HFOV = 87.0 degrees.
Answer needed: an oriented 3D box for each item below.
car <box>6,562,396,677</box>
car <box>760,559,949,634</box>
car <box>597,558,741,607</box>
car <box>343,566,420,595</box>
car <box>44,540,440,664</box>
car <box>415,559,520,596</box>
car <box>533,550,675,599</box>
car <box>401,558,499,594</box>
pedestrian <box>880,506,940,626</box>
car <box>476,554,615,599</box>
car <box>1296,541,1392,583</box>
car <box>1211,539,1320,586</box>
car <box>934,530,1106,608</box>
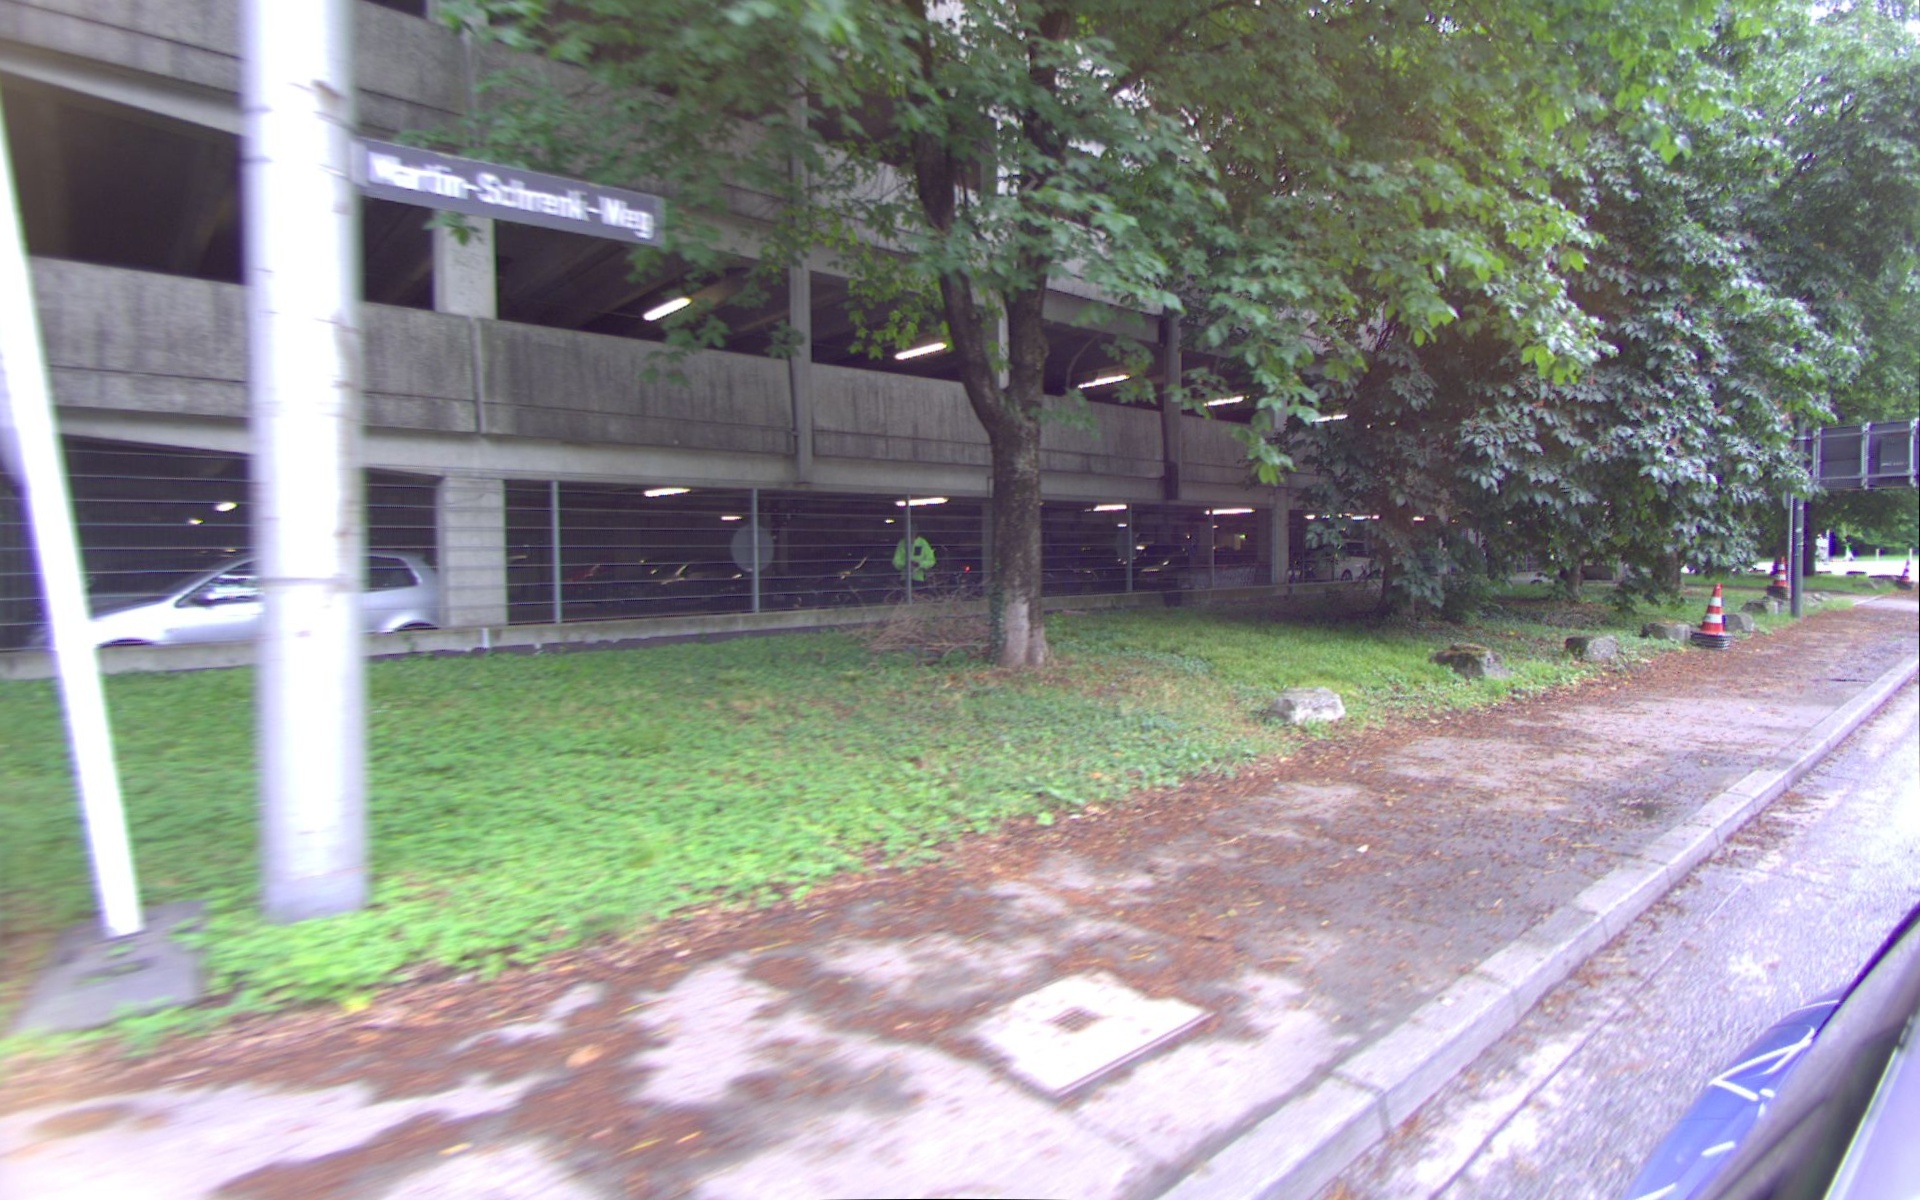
[{"bbox_3d":[-9.007,0.139,12.256,3.576,1.176,1.621,-2,3,-40],"label":"car"},{"bbox_3d":[-2.119,-0.132,20.915,3.711,1.381,1.520,-3,3,-41],"label":"car"},{"bbox_3d":[-7.534,-0.445,26.352,3.287,1.191,1.520,0,1,-42],"label":"car"},{"bbox_3d":[-32.796,-1.128,57.400,3.608,1.458,1.672,-3,3,-38],"label":"car"},{"bbox_3d":[-7.390,-0.046,10.586,3.199,1.100,1.536,-2,3,-41],"label":"car"},{"bbox_3d":[-20.468,-0.968,42.113,3.613,1.367,1.670,-3,4,-43],"label":"car"},{"bbox_3d":[-11.569,-0.884,33.062,4.005,1.506,1.823,-3,4,-43],"label":"car"},{"bbox_3d":[-23.199,-1.129,46.095,3.613,1.500,1.670,-3,4,-43],"label":"car"},{"bbox_3d":[-0.749,-0.517,15.065,0.600,1.719,0.617,-3,7,-42],"label":"pedestrian"},{"bbox_3d":[-14.126,-0.837,34.605,4.005,1.433,1.823,-3,4,-43],"label":"car"},{"bbox_3d":[13.097,-1.300,34.423,3.711,1.343,1.520,-3,3,-41],"label":"car"},{"bbox_3d":[9.507,-1.180,31.386,3.711,1.381,1.520,-3,3,-41],"label":"car"},{"bbox_3d":[1.518,-0.756,24.698,3.933,1.749,1.996,-2,1,-42],"label":"car"}]
